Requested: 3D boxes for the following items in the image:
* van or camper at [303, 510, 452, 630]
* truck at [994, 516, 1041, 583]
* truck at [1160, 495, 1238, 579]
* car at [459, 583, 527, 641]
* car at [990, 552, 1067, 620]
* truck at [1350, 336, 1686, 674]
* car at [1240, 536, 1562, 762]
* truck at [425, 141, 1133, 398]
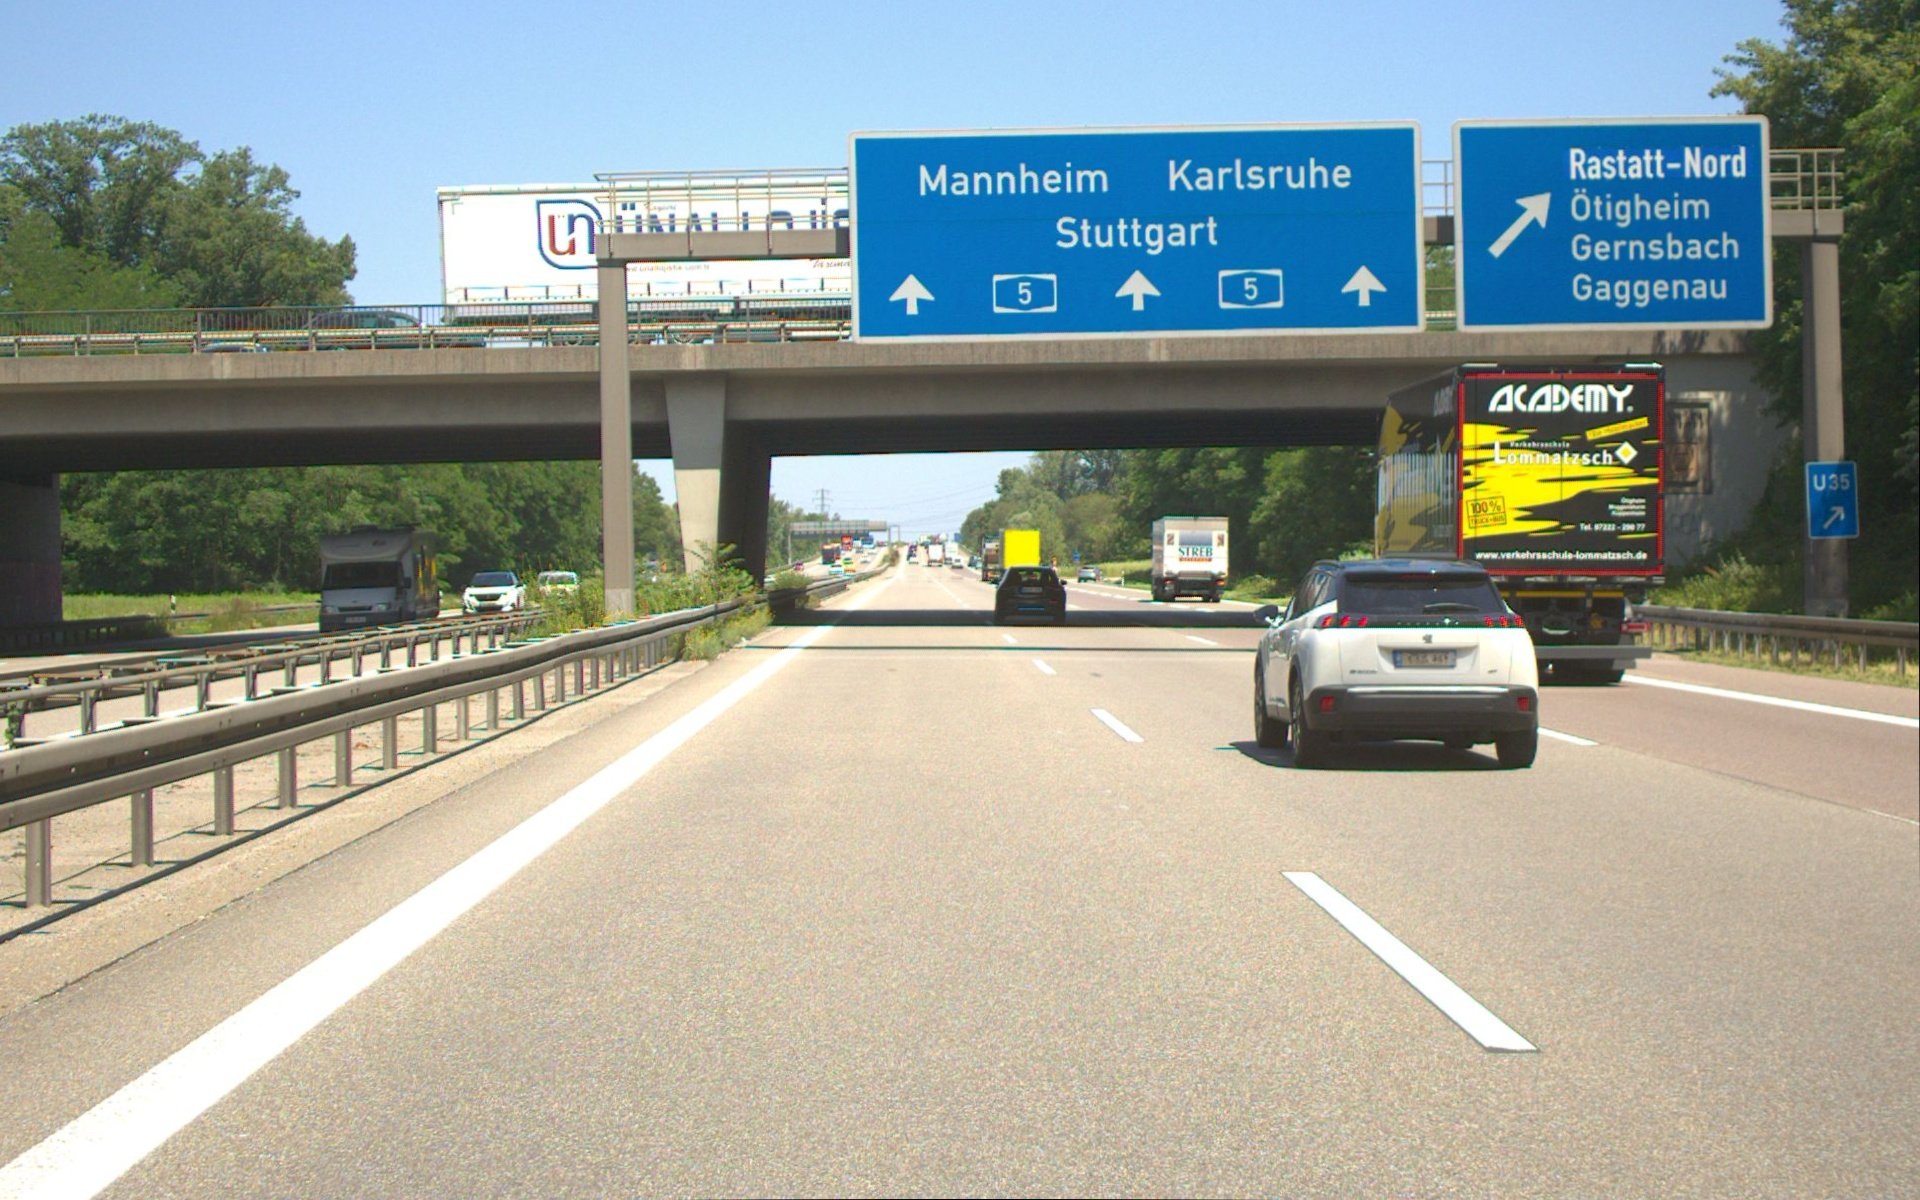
[{"bbox_3d":[-14.702,-0.754,87.226,2.592,2.897,7.234,1,0,-1],"label":"van or camper"},{"bbox_3d":[4.288,-3.745,259.493,3.377,4.864,15.086,1,0,0],"label":"truck"},{"bbox_3d":[9.768,-2.529,140.918,3.028,3.308,10.769,1,0,4],"label":"truck"},{"bbox_3d":[-15.005,0.368,110.750,1.690,1.809,4.714,1,0,-2],"label":"car"},{"bbox_3d":[1.741,-0.361,88.610,1.827,1.700,4.000,1,0,-1],"label":"car"},{"bbox_3d":[7.370,-1.191,47.069,2.975,4.023,10.981,1,0,1],"label":"truck"},{"bbox_3d":[3.330,0.326,26.845,1.827,1.602,4.809,0,0,-1],"label":"car"},{"bbox_3d":[-4.299,-7.779,81.818,16.458,5.546,3.175,1,0,-5],"label":"truck"}]
